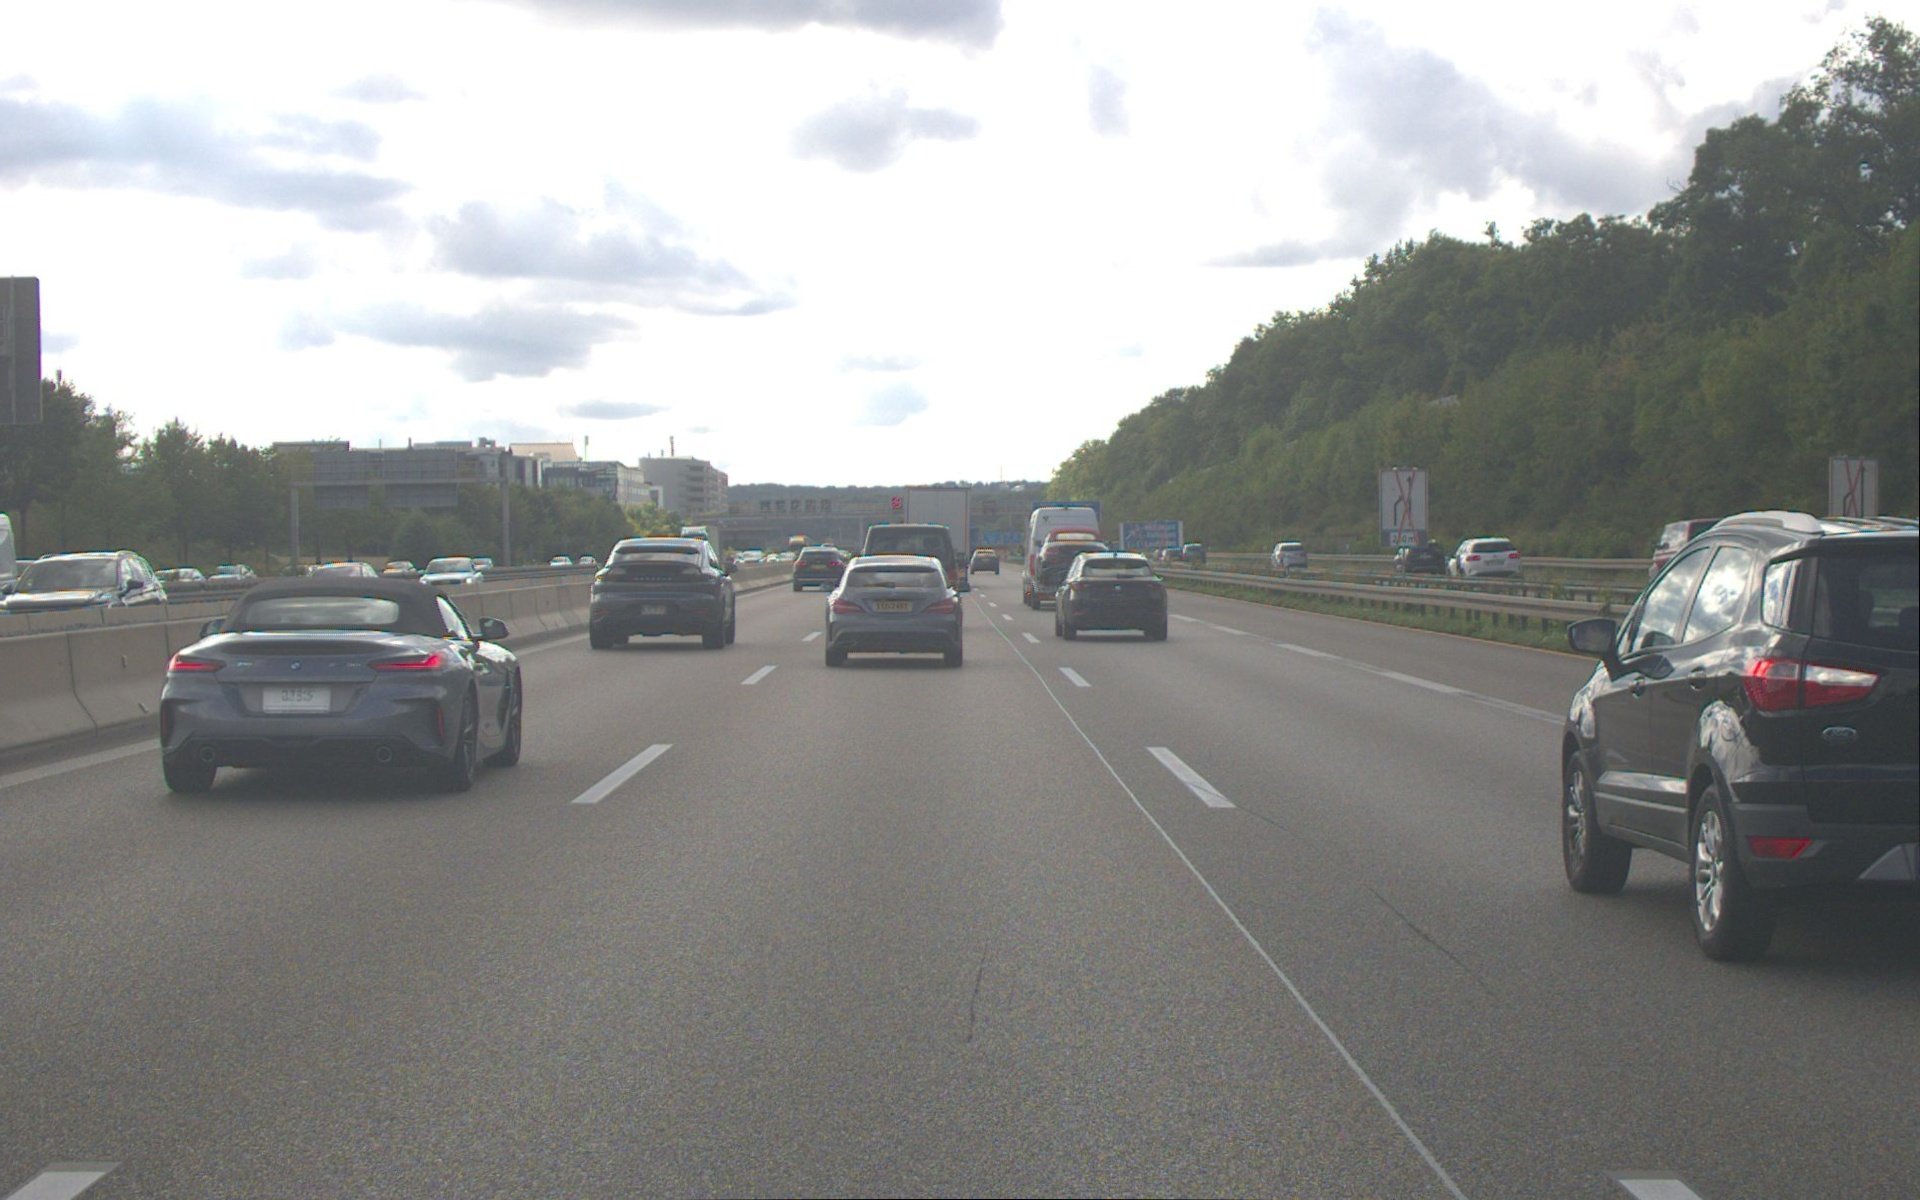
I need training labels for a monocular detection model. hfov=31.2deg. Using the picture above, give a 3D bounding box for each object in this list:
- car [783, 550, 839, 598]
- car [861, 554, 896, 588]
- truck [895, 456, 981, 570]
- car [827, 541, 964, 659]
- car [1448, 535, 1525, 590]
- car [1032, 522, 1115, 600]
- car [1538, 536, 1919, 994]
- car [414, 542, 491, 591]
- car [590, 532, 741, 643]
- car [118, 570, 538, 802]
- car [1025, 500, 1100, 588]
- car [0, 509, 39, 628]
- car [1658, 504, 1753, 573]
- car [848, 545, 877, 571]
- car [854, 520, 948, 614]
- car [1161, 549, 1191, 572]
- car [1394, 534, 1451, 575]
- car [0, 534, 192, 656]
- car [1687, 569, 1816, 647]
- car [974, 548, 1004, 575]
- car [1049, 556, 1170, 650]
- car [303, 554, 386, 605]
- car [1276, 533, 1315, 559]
[{"bbox_3d":[-5.353,-0.941,123.743,1.873,1.692,4.072,0,1,-1],"label":"car"},{"bbox_3d":[-4.029,-1.434,169.656,1.697,1.605,4.114,0,1,-1],"label":"car"},{"bbox_3d":[-0.884,-3.457,138.351,3.263,4.360,11.027,1,1,0],"label":"truck"},{"bbox_3d":[-0.826,-0.039,45.331,1.720,1.474,4.392,0,1,-1],"label":"car"},{"bbox_3d":[16.494,-1.173,107.832,1.752,1.689,4.190,0,1,-1],"label":"car"},{"bbox_3d":[2.816,-0.985,86.346,1.913,1.912,4.031,0,1,-1],"label":"car"},{"bbox_3d":[3.544,0.524,13.771,1.697,1.559,4.114,0,1,-1],"label":"car"},{"bbox_3d":[-16.237,-1.078,110.157,1.763,1.527,4.717,0,1,0],"label":"car"},{"bbox_3d":[-4.493,-0.237,53.100,1.912,1.630,5.500,0,1,-1],"label":"car"},{"bbox_3d":[-3.979,0.480,22.470,1.873,1.298,4.943,0,1,-1],"label":"car"},{"bbox_3d":[2.753,-1.522,93.323,1.873,2.349,4.282,0,1,-1],"label":"car"},{"bbox_3d":[-16.877,-0.506,55.681,2.355,1.960,5.834,0,1,0],"label":"car"},{"bbox_3d":[19.794,-1.640,91.406,1.595,1.797,3.825,0,1,-2],"label":"car"},{"bbox_3d":[-6.919,-2.984,244.060,1.993,1.809,4.567,0,1,0],"label":"car"},{"bbox_3d":[-1.105,-0.641,65.084,1.720,1.718,4.392,0,1,-1],"label":"car"},{"bbox_3d":[14.846,-2.706,236.423,1.729,1.528,4.453,-1,1,-1],"label":"car"},{"bbox_3d":[19.244,-1.887,143.226,1.752,1.689,4.190,0,1,-1],"label":"car"},{"bbox_3d":[-12.856,-0.115,51.303,1.763,1.725,4.703,1,1,0],"label":"car"},{"bbox_3d":[16.497,0.147,71.817,1.595,1.540,4.191,0,1,-2],"label":"car"},{"bbox_3d":[1.788,-2.385,212.908,1.752,1.689,4.190,0,1,-1],"label":"car"},{"bbox_3d":[2.494,0.021,58.167,1.832,1.516,4.225,0,1,-1],"label":"car"},{"bbox_3d":[-17.259,-0.586,96.533,1.637,1.398,4.492,0,1,-1],"label":"car"},{"bbox_3d":[19.275,-3.105,197.620,1.752,1.511,4.191,0,1,-1],"label":"car"}]
